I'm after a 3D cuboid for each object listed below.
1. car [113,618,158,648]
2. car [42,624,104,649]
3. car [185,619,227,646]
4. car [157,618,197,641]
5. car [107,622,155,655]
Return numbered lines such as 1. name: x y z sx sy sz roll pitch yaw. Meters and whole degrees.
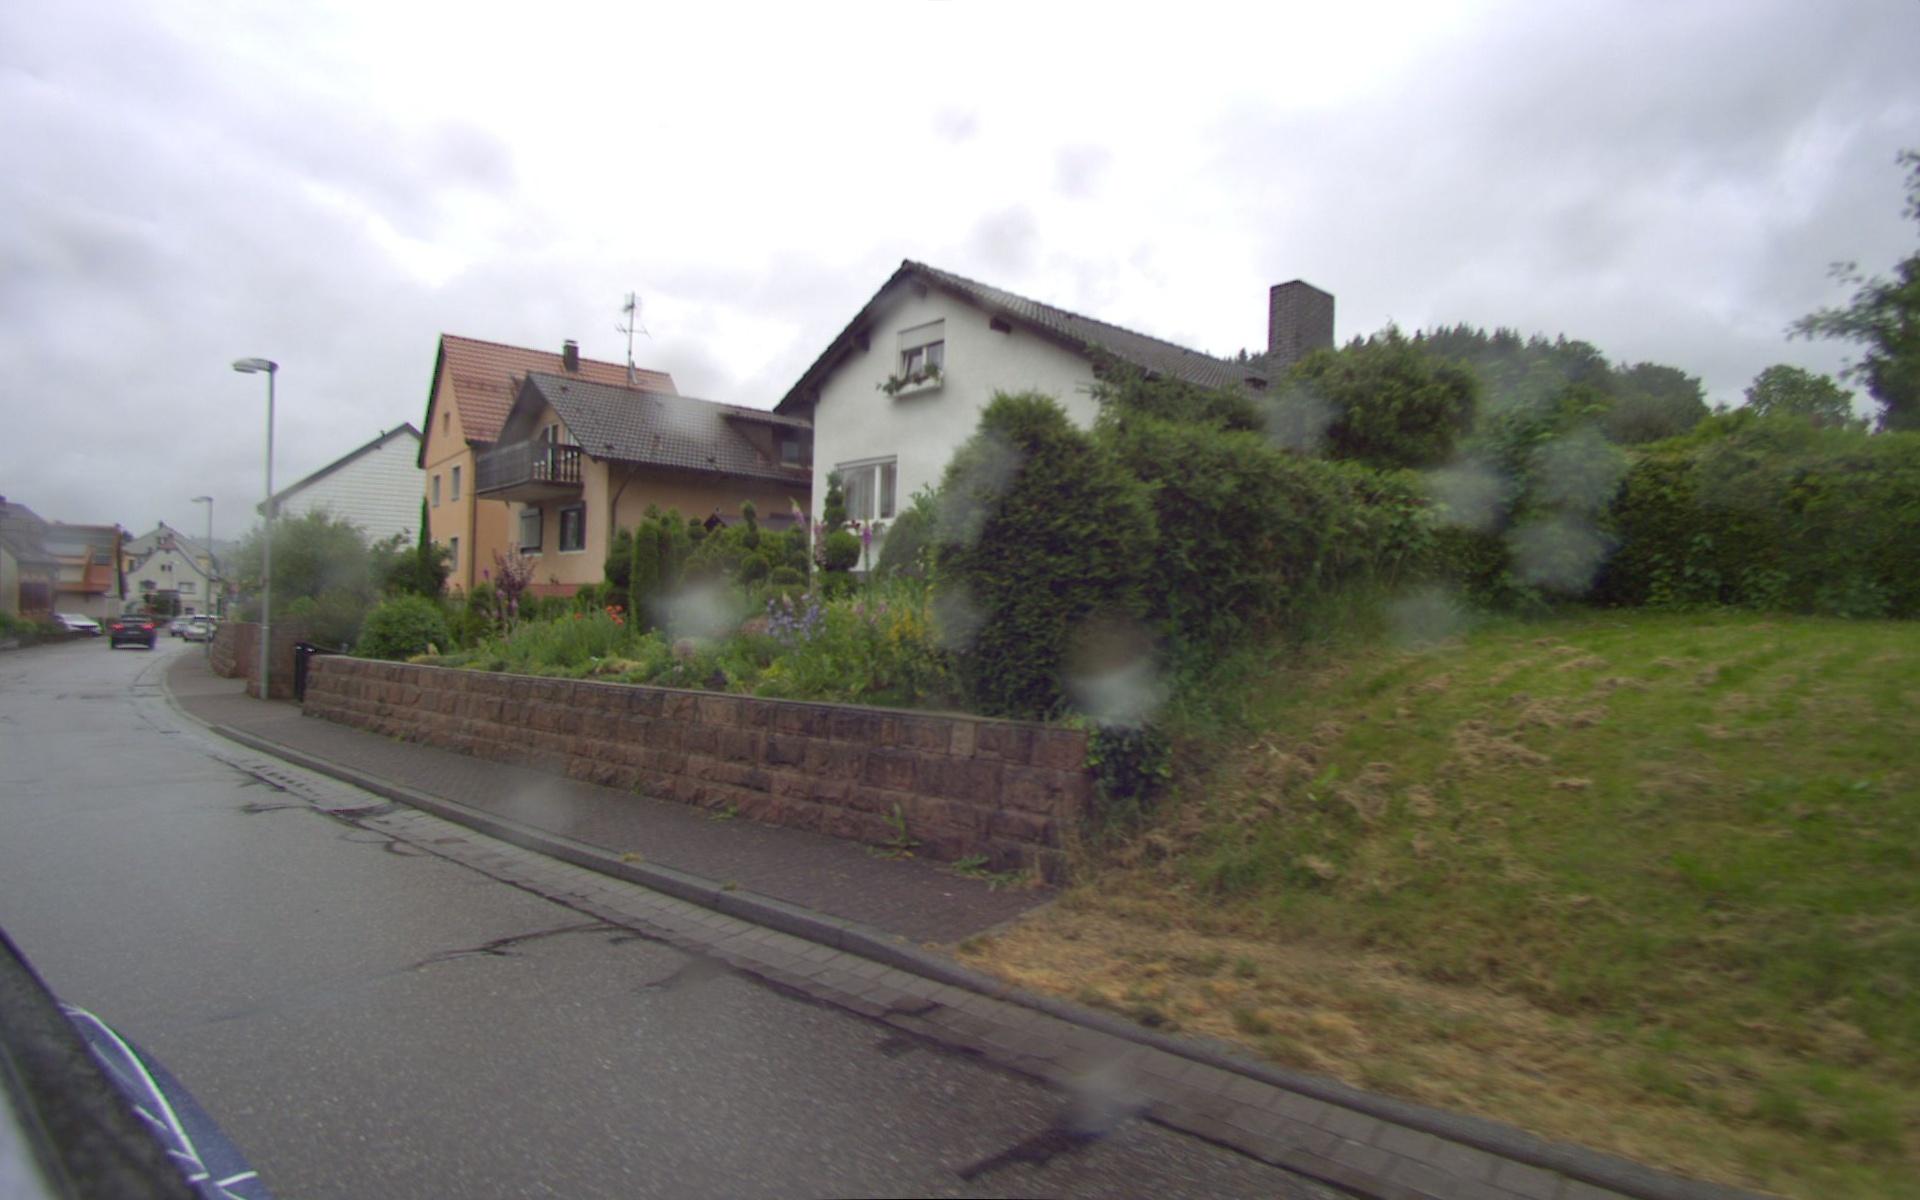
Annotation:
1. car: -51.500 2.065 63.278 1.810 1.686 5.210 3 -2 -36
2. car: -60.056 2.453 68.498 3.872 1.587 1.874 -1 0 27
3. car: -51.085 2.174 68.629 1.786 1.696 4.196 3 -2 -30
4. car: -59.048 2.226 76.417 1.786 1.608 4.196 3 -2 -30
5. car: -42.657 1.979 52.131 1.678 1.558 3.859 5 -4 -37
